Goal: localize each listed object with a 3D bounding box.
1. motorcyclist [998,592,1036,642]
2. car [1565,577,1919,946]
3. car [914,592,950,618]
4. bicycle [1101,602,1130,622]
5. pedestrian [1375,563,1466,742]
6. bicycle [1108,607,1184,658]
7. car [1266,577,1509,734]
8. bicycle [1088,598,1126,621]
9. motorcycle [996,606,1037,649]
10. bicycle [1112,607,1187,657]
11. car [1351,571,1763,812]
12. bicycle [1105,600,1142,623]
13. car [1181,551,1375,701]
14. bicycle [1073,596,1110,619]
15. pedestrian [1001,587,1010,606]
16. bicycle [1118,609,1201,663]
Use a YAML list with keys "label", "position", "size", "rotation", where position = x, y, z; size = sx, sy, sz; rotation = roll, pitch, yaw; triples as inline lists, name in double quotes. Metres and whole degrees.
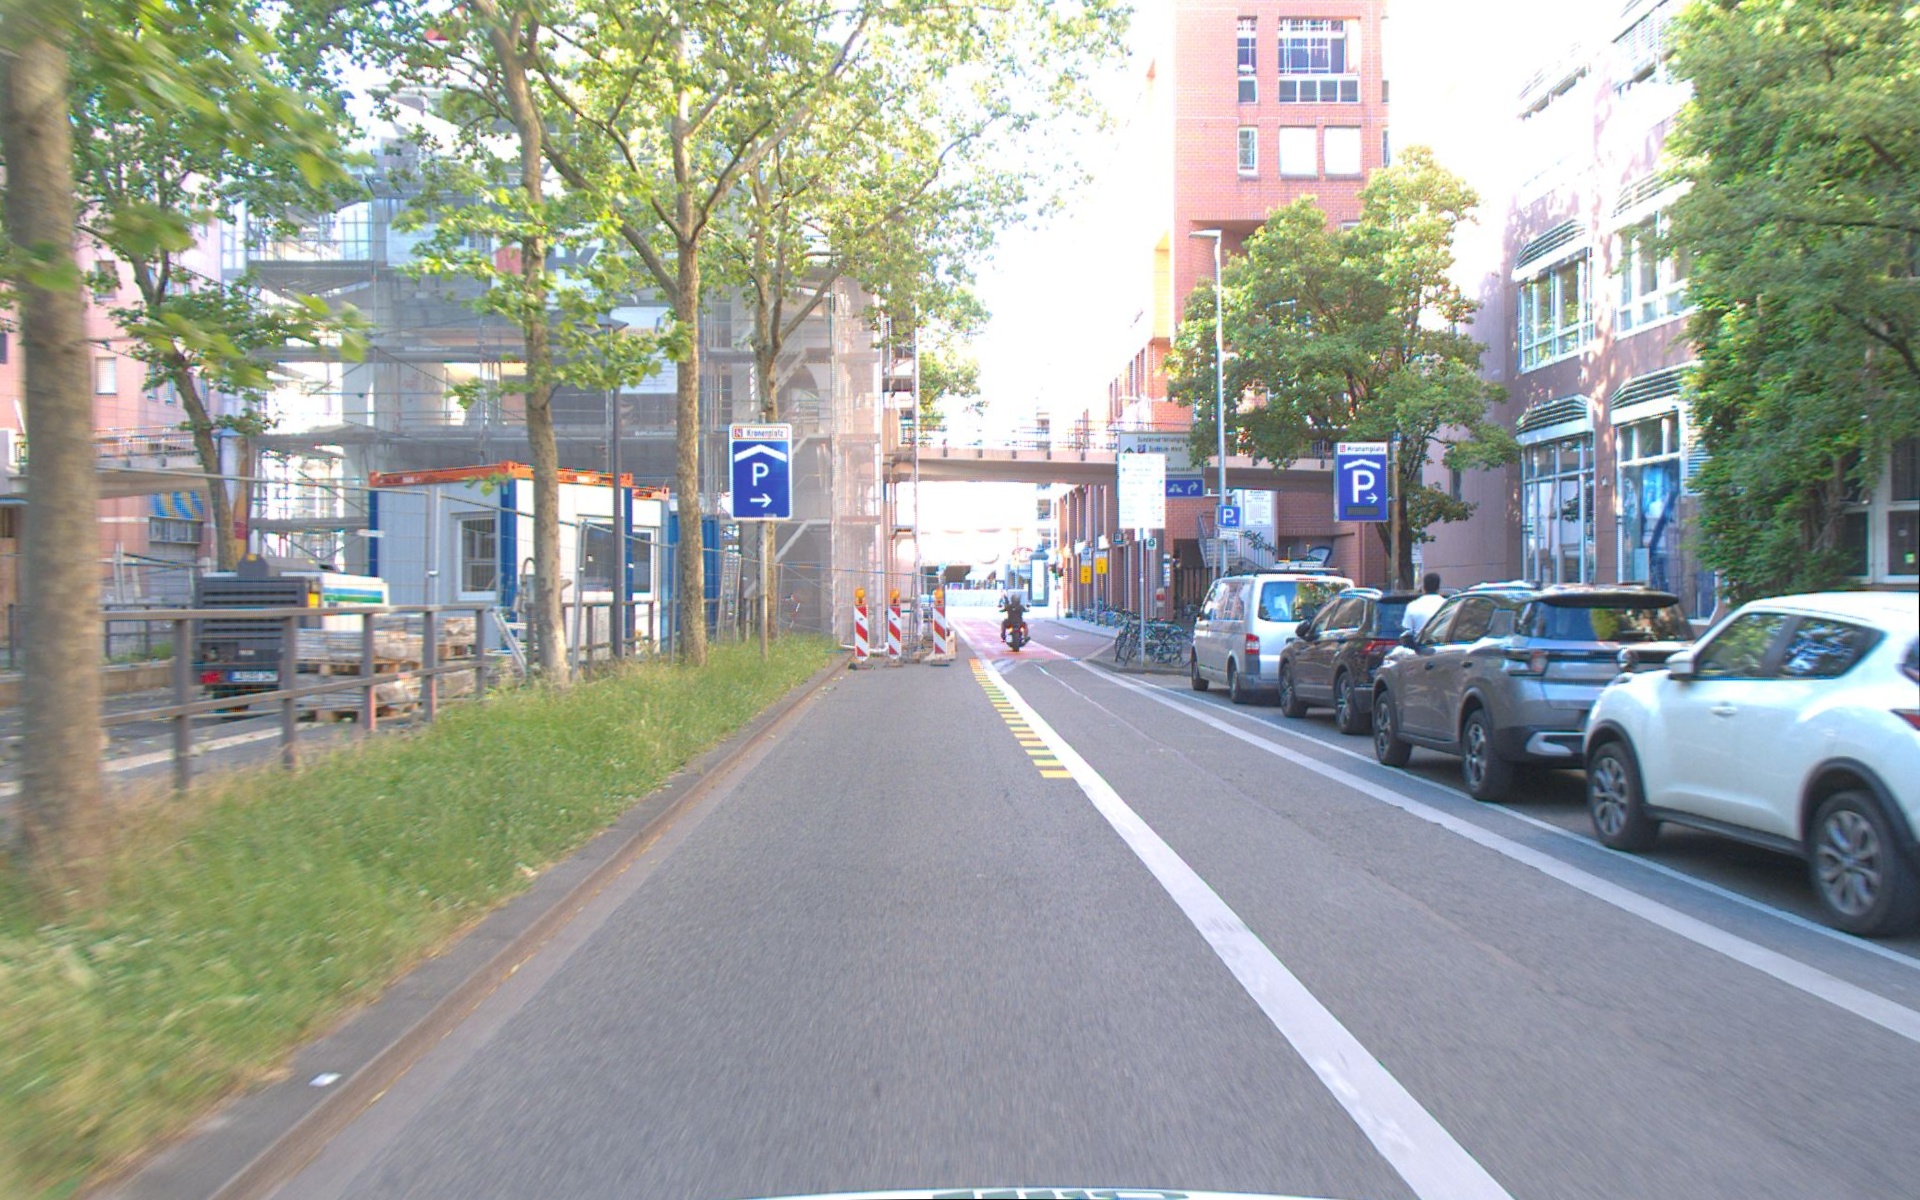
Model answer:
- label: "motorcyclist"
  position: [1.600, 0.463, 46.548]
  size: [0.951, 1.370, 1.137]
  rotation: [1, 0, -2]
- label: "car"
  position: [4.997, 0.684, 9.045]
  size: [1.791, 1.606, 3.998]
  rotation: [0, 0, -2]
- label: "car"
  position: [-1.605, 0.269, 92.852]
  size: [1.885, 1.413, 3.998]
  rotation: [0, 1, -3]
- label: "bicycle"
  position: [7.346, 0.553, 78.304]
  size: [1.306, 0.856, 0.425]
  rotation: [-3, 0, 0]
- label: "pedestrian"
  position: [4.886, 0.539, 17.549]
  size: [0.710, 1.844, 0.652]
  rotation: [-1, 0, -44]
- label: "bicycle"
  position: [4.115, 0.715, 36.650]
  size: [1.647, 1.086, 0.499]
  rotation: [0, 0, 33]
- label: "car"
  position: [5.067, 0.590, 20.182]
  size: [1.751, 1.699, 4.198]
  rotation: [0, 0, -2]
- label: "bicycle"
  position: [7.331, 0.477, 82.541]
  size: [1.853, 1.138, 0.550]
  rotation: [-1, 0, -2]
- label: "motorcycle"
  position: [1.582, 0.761, 46.566]
  size: [0.953, 1.151, 2.804]
  rotation: [1, 0, -2]
- label: "bicycle"
  position: [4.285, 0.711, 37.508]
  size: [1.647, 1.086, 0.499]
  rotation: [0, 0, 33]
- label: "car"
  position: [4.779, 0.637, 14.000]
  size: [1.751, 1.699, 4.438]
  rotation: [0, 0, -2]
- label: "bicycle"
  position: [7.469, 0.529, 75.578]
  size: [1.578, 0.971, 0.555]
  rotation: [-3, 0, 0]
- label: "car"
  position: [4.855, 0.350, 26.009]
  size: [1.880, 2.115, 5.168]
  rotation: [0, 0, -2]
- label: "bicycle"
  position: [6.891, 0.396, 86.507]
  size: [1.853, 1.138, 0.474]
  rotation: [-1, 0, -2]
- label: "pedestrian"
  position: [3.912, -0.328, 142.856]
  size: [0.537, 1.611, 0.548]
  rotation: [-1, 0, -44]
- label: "bicycle"
  position: [4.150, 0.740, 34.412]
  size: [1.643, 1.086, 0.511]
  rotation: [0, 0, 22]
